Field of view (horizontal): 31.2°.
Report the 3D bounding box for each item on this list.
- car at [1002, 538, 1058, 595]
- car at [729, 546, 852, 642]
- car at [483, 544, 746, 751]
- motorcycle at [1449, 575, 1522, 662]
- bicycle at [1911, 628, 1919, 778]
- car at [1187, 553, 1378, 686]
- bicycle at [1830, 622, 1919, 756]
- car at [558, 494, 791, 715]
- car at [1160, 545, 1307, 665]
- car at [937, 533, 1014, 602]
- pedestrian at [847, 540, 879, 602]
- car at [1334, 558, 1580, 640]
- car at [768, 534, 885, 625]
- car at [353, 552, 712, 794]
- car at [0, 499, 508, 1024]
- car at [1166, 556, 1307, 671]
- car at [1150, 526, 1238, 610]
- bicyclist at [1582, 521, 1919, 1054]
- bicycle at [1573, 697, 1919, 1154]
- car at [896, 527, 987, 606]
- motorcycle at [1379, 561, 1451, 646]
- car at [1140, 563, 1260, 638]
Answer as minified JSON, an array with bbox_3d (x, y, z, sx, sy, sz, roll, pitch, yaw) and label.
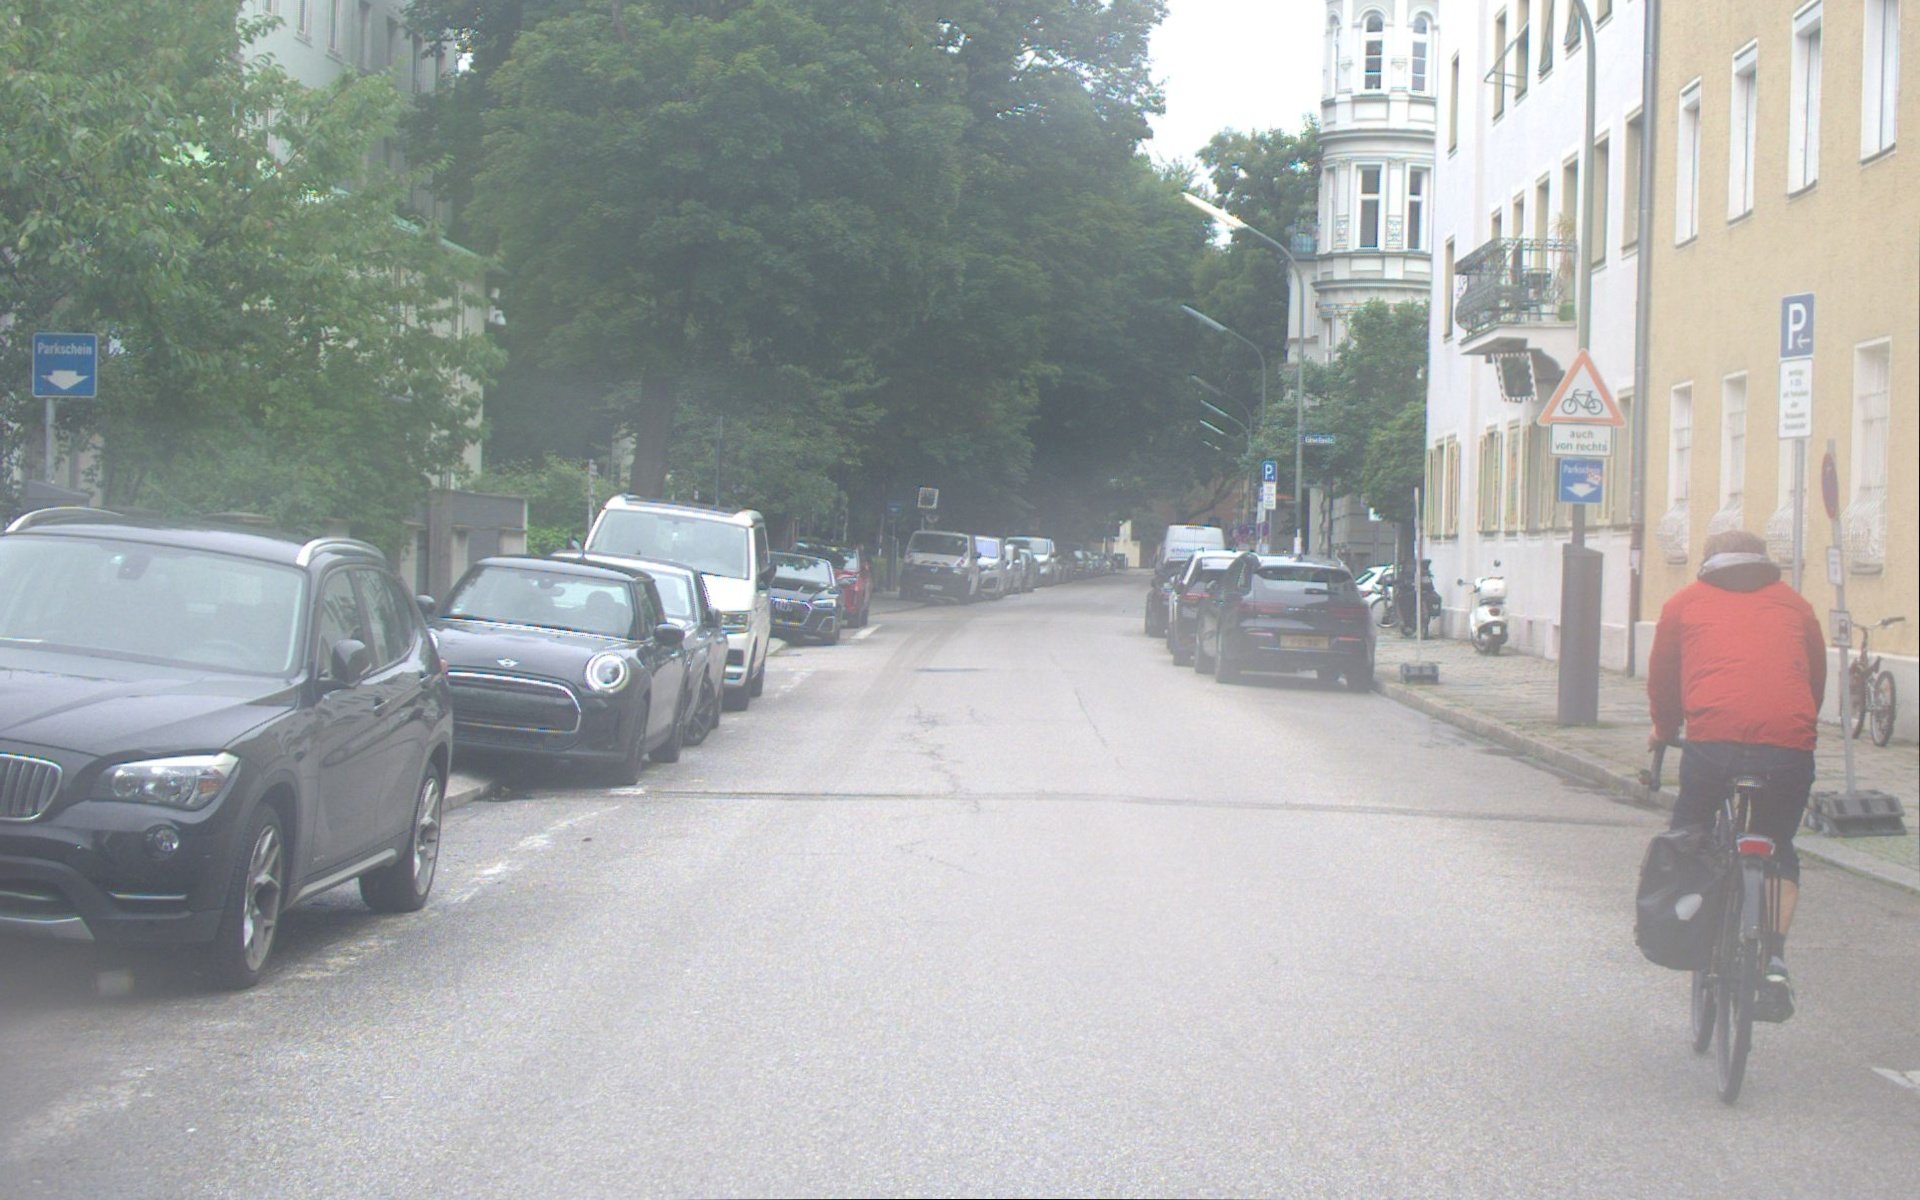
[{"bbox_3d":[2.845,-1.353,138.302,2.002,2.179,4.695,3,1,3],"label":"car"},{"bbox_3d":[-2.707,-0.126,55.874,1.807,1.397,4.924,3,1,-1],"label":"car"},{"bbox_3d":[-2.837,0.332,29.122,1.887,1.538,4.697,2,1,-2],"label":"car"},{"bbox_3d":[7.888,0.262,51.680,0.732,1.235,2.007,3,1,0],"label":"motorcycle"},{"bbox_3d":[7.458,0.802,25.427,0.342,1.131,1.759,1,1,0],"label":"bicycle"},{"bbox_3d":[4.067,0.201,44.095,1.860,1.571,4.900,1,1,-1],"label":"car"},{"bbox_3d":[7.814,0.739,29.281,0.342,1.078,1.814,-1,0,0],"label":"bicycle"},{"bbox_3d":[-2.826,0.001,35.093,1.966,1.983,5.152,3,1,-1],"label":"car"},{"bbox_3d":[4.306,0.037,54.832,1.994,1.701,4.534,4,1,2],"label":"car"},{"bbox_3d":[0.504,-1.001,105.383,2.184,1.950,5.167,3,1,1],"label":"car"},{"bbox_3d":[-2.525,-0.756,89.470,0.713,1.543,0.753,4,1,-2],"label":"pedestrian"},{"bbox_3d":[10.489,-0.032,72.807,4.906,1.526,1.913,1,3,1],"label":"car"},{"bbox_3d":[-2.517,-0.406,65.606,1.887,1.585,4.528,3,1,1],"label":"car"},{"bbox_3d":[-2.881,0.439,24.032,1.859,1.539,4.187,0,1,2],"label":"car"},{"bbox_3d":[-3.102,0.448,13.160,1.845,1.602,4.742,3,1,2],"label":"car"},{"bbox_3d":[3.941,0.157,49.539,1.838,1.526,4.415,1,1,2],"label":"car"},{"bbox_3d":[6.315,-0.862,93.362,2.204,2.201,4.855,1,0,2],"label":"car"},{"bbox_3d":[2.349,0.530,10.293,0.754,1.478,0.981,3,0,3],"label":"bicyclist"},{"bbox_3d":[2.354,0.916,10.394,0.672,1.137,2.011,3,1,3],"label":"bicycle"},{"bbox_3d":[-0.470,-0.923,93.703,2.248,1.950,5.453,3,1,1],"label":"car"},{"bbox_3d":[7.988,0.042,60.471,0.857,1.428,2.707,2,1,0],"label":"motorcycle"},{"bbox_3d":[4.446,-0.022,64.332,2.000,1.314,4.595,-1,1,1],"label":"car"}]
